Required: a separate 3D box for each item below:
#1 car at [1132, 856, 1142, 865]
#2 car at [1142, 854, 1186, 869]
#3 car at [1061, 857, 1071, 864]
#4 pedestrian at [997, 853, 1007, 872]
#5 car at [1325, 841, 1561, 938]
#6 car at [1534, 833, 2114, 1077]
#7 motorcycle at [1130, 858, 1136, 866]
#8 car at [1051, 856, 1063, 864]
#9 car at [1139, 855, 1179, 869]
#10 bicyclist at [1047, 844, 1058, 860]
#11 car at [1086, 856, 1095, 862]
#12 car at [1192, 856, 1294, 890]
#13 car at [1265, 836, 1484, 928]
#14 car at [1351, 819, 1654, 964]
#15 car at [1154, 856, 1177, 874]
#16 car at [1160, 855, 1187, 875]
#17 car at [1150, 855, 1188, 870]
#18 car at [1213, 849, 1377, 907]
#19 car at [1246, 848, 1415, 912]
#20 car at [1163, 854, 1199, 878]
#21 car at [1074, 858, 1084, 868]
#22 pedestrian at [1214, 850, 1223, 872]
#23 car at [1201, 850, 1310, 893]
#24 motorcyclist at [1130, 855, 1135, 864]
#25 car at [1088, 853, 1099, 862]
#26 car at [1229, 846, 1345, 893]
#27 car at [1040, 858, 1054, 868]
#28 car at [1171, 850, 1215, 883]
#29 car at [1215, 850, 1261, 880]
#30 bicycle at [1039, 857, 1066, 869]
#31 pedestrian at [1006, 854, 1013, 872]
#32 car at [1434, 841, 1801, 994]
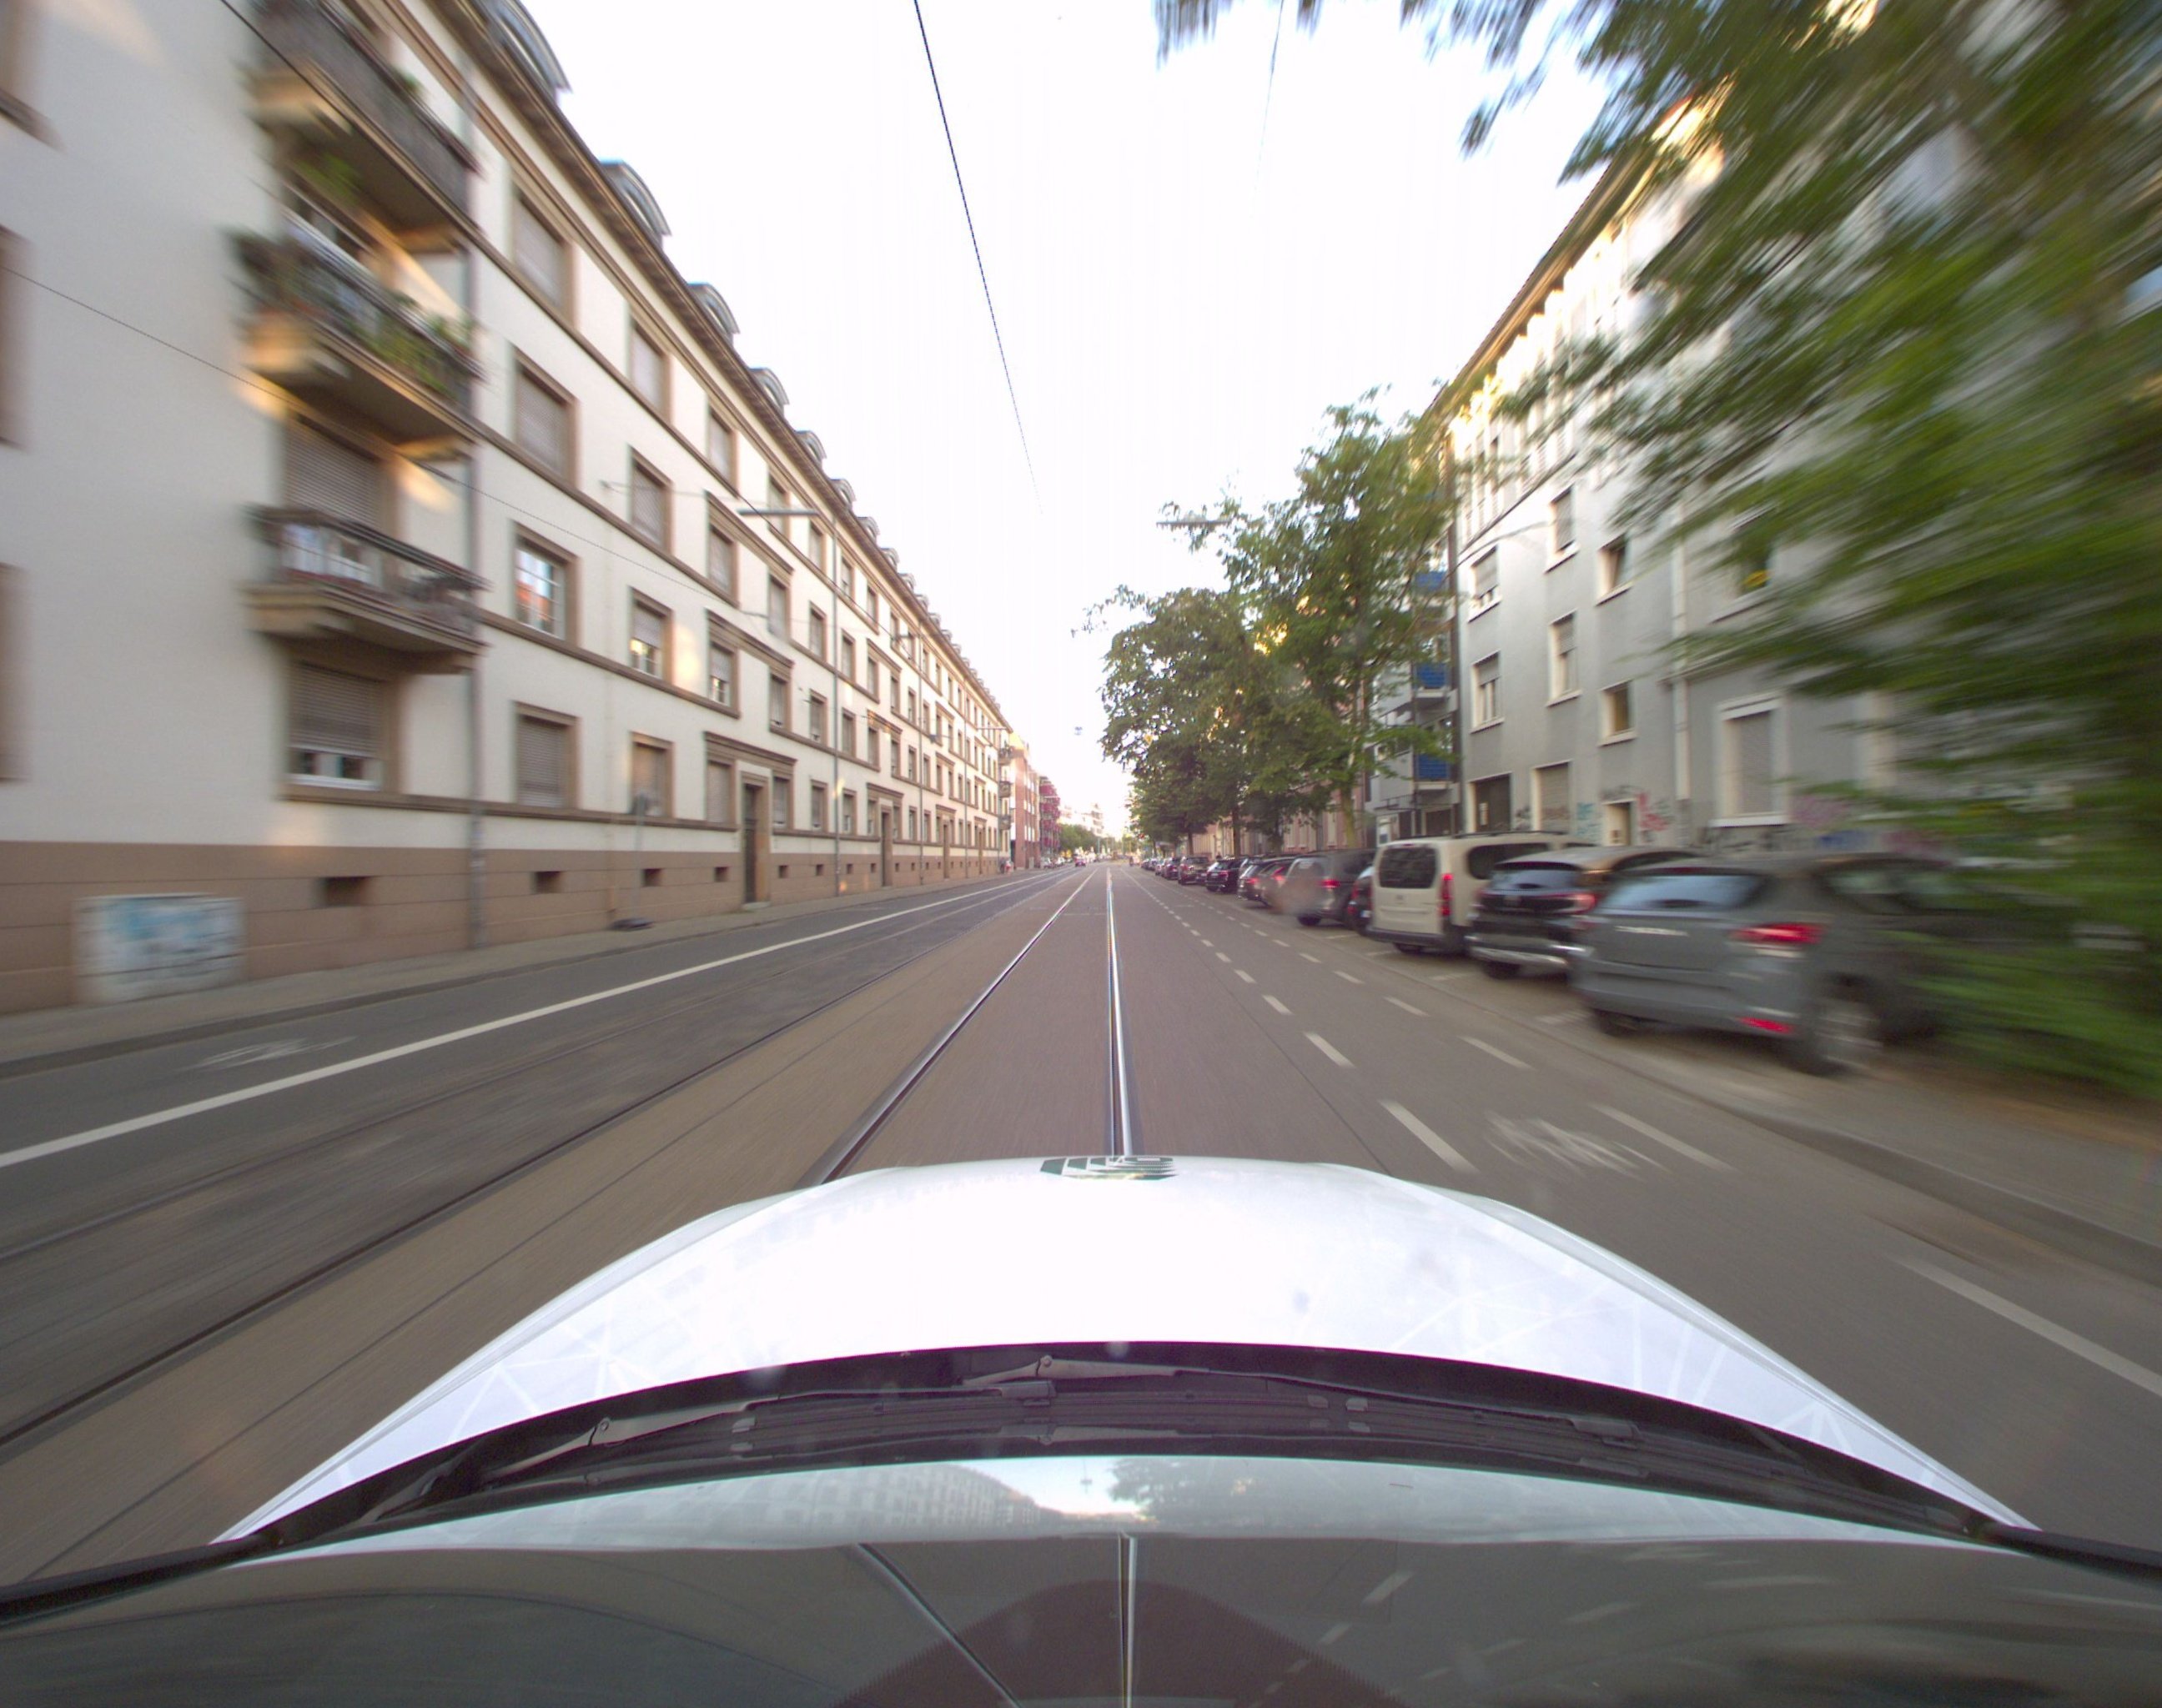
[{"bbox_3d":[9.748,1.070,142.665,1.709,1.555,4.207,0,0,3],"label":"car"},{"bbox_3d":[9.481,0.887,93.025,4.461,1.516,2.048,-2,0,-22],"label":"car"},{"bbox_3d":[-4.045,1.784,218.759,1.672,1.700,4.252,-1,0,11],"label":"car"},{"bbox_3d":[-7.402,0.799,76.354,0.793,1.701,0.981,-1,-1,-1],"label":"pedestrian"},{"bbox_3d":[6.835,0.601,15.420,4.000,1.566,1.708,-2,0,-20],"label":"car"},{"bbox_3d":[6.015,0.634,6.685,3.997,1.540,1.769,-1,0,-18],"label":"car"},{"bbox_3d":[8.426,1.241,132.785,0.824,1.240,2.495,-1,0,6],"label":"motorcycle"},{"bbox_3d":[-4.184,1.077,142.347,1.684,1.414,4.682,1,0,4],"label":"car"},{"bbox_3d":[9.502,0.971,98.986,4.625,1.457,1.697,-3,0,-23],"label":"car"},{"bbox_3d":[-3.457,-0.232,99.061,1.213,2.013,0.945,0,0,-7],"label":"bicyclist"},{"bbox_3d":[2.634,1.334,224.912,1.673,1.439,4.136,-1,0,9],"label":"car"},{"bbox_3d":[7.144,0.800,35.829,4.269,1.388,1.608,-1,0,-24],"label":"car"},{"bbox_3d":[6.299,0.530,17.530,4.192,1.696,1.835,-2,0,-19],"label":"car"},{"bbox_3d":[6.343,0.469,12.322,4.000,1.816,1.812,-2,0,-20],"label":"car"},{"bbox_3d":[6.965,0.877,67.574,1.613,1.381,3.777,-3,0,2],"label":"car"},{"bbox_3d":[7.035,0.832,62.156,1.772,1.381,4.696,-3,0,4],"label":"car"},{"bbox_3d":[9.181,0.886,85.185,3.571,1.429,1.656,-2,0,-24],"label":"car"},{"bbox_3d":[6.258,0.668,23.900,4.386,1.464,1.710,-2,0,-16],"label":"car"},{"bbox_3d":[6.591,0.655,21.593,3.995,1.464,1.710,-2,0,-16],"label":"car"},{"bbox_3d":[6.646,0.770,54.759,1.986,1.489,5.038,-2,0,2],"label":"car"},{"bbox_3d":[-0.385,1.456,133.761,1.554,1.558,3.754,-2,0,0],"label":"car"},{"bbox_3d":[11.197,0.568,66.233,0.678,1.816,0.600,-1,-1,2],"label":"pedestrian"},{"bbox_3d":[7.051,0.677,32.915,3.969,1.553,1.711,-2,1,-16],"label":"car"},{"bbox_3d":[8.432,0.898,132.846,0.824,1.473,1.209,-1,0,6],"label":"motorcyclist"},{"bbox_3d":[3.561,0.874,230.661,2.449,2.482,5.817,-1,0,5],"label":"car"},{"bbox_3d":[7.867,0.538,31.154,4.000,1.593,1.708,-2,1,-20],"label":"car"},{"bbox_3d":[-5.136,1.322,122.251,1.710,1.555,4.206,0,0,3],"label":"car"},{"bbox_3d":[6.208,0.675,45.445,1.873,1.618,4.263,-3,0,1],"label":"car"},{"bbox_3d":[8.724,0.582,45.492,1.873,1.584,4.021,-1,0,1],"label":"car"},{"bbox_3d":[-3.510,1.136,99.045,3.167,1.354,0.955,-1,-1,-7],"label":"bicycle"},{"bbox_3d":[-6.680,0.823,76.226,0.589,1.609,0.811,-1,-1,0],"label":"pedestrian"},{"bbox_3d":[6.547,0.652,9.981,4.000,1.566,1.708,-1,0,-20],"label":"car"}]
